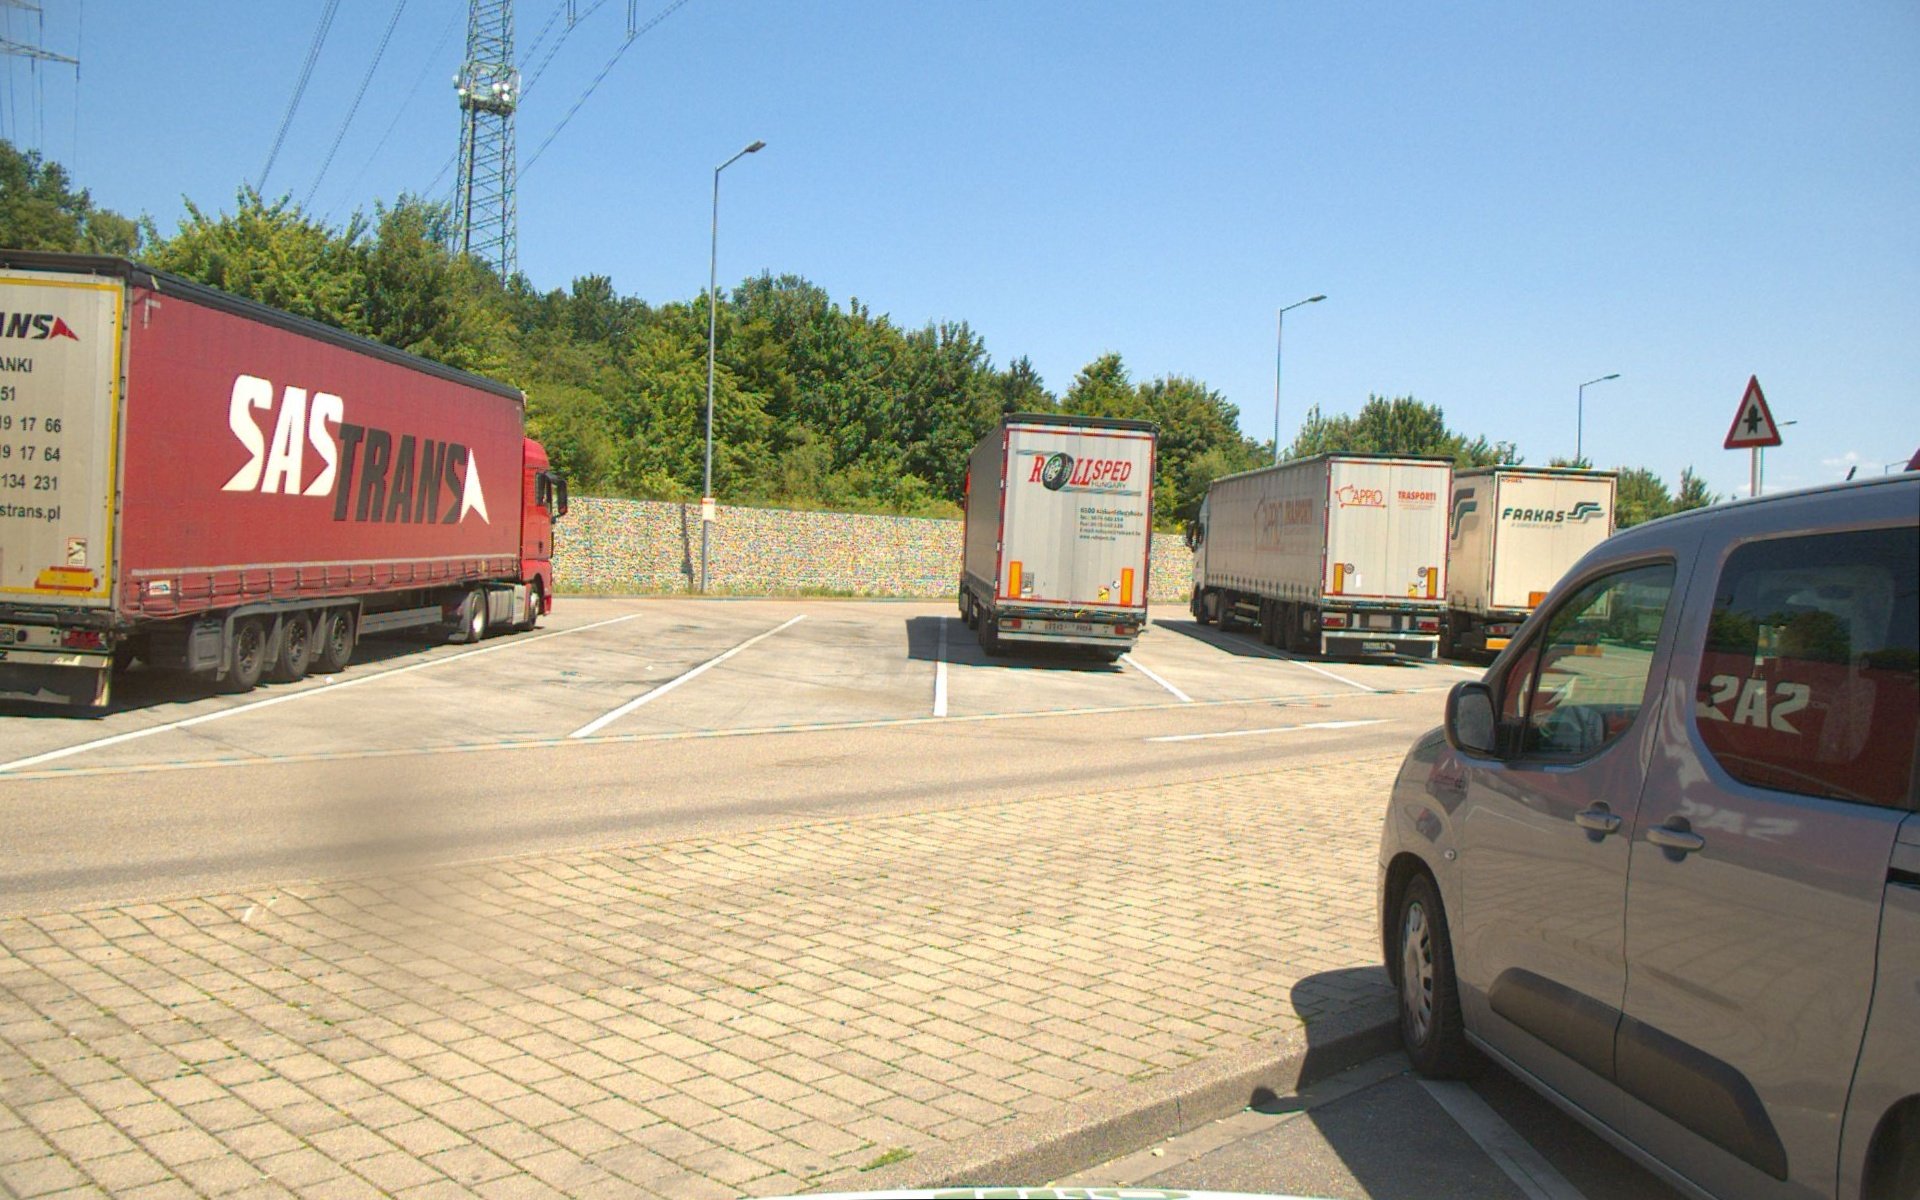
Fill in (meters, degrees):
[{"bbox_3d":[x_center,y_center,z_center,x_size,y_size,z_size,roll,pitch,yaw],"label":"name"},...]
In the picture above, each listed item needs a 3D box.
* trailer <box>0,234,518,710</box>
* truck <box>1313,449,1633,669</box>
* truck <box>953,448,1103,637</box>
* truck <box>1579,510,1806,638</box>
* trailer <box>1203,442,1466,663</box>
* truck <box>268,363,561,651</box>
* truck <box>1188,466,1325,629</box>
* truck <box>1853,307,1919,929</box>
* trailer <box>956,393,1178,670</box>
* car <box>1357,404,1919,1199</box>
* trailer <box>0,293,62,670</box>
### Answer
[{"bbox_3d":[-8.685,-1.262,21.045,2.694,4.128,13.284,1,1,-1],"label":"trailer"},{"bbox_3d":[11.710,-0.959,40.004,2.846,4.195,14.525,3,1,-1],"label":"truck"},{"bbox_3d":[1.460,-1.382,39.454,2.965,3.997,6.845,2,2,-2],"label":"truck"},{"bbox_3d":[21.950,-0.811,50.196,2.963,3.497,8.529,1,1,-1],"label":"truck"},{"bbox_3d":[8.198,-1.052,38.620,2.818,4.196,13.569,1,1,-1],"label":"trailer"},{"bbox_3d":[-8.780,-1.423,27.547,2.687,4.152,6.828,1,1,-1],"label":"truck"},{"bbox_3d":[8.065,-1.413,45.619,2.701,4.196,5.283,1,1,-1],"label":"truck"},{"bbox_3d":[4.976,0.126,4.947,1.952,2.669,5.305,1,1,3],"label":"truck"},{"bbox_3d":[1.693,-1.317,32.688,3.008,4.301,12.805,2,2,-2],"label":"trailer"},{"bbox_3d":[2.429,0.553,3.826,1.790,1.784,3.997,1,1,-4],"label":"car"},{"bbox_3d":[-12.414,-1.313,15.456,2.689,4.337,9.733,1,1,0],"label":"trailer"}]
